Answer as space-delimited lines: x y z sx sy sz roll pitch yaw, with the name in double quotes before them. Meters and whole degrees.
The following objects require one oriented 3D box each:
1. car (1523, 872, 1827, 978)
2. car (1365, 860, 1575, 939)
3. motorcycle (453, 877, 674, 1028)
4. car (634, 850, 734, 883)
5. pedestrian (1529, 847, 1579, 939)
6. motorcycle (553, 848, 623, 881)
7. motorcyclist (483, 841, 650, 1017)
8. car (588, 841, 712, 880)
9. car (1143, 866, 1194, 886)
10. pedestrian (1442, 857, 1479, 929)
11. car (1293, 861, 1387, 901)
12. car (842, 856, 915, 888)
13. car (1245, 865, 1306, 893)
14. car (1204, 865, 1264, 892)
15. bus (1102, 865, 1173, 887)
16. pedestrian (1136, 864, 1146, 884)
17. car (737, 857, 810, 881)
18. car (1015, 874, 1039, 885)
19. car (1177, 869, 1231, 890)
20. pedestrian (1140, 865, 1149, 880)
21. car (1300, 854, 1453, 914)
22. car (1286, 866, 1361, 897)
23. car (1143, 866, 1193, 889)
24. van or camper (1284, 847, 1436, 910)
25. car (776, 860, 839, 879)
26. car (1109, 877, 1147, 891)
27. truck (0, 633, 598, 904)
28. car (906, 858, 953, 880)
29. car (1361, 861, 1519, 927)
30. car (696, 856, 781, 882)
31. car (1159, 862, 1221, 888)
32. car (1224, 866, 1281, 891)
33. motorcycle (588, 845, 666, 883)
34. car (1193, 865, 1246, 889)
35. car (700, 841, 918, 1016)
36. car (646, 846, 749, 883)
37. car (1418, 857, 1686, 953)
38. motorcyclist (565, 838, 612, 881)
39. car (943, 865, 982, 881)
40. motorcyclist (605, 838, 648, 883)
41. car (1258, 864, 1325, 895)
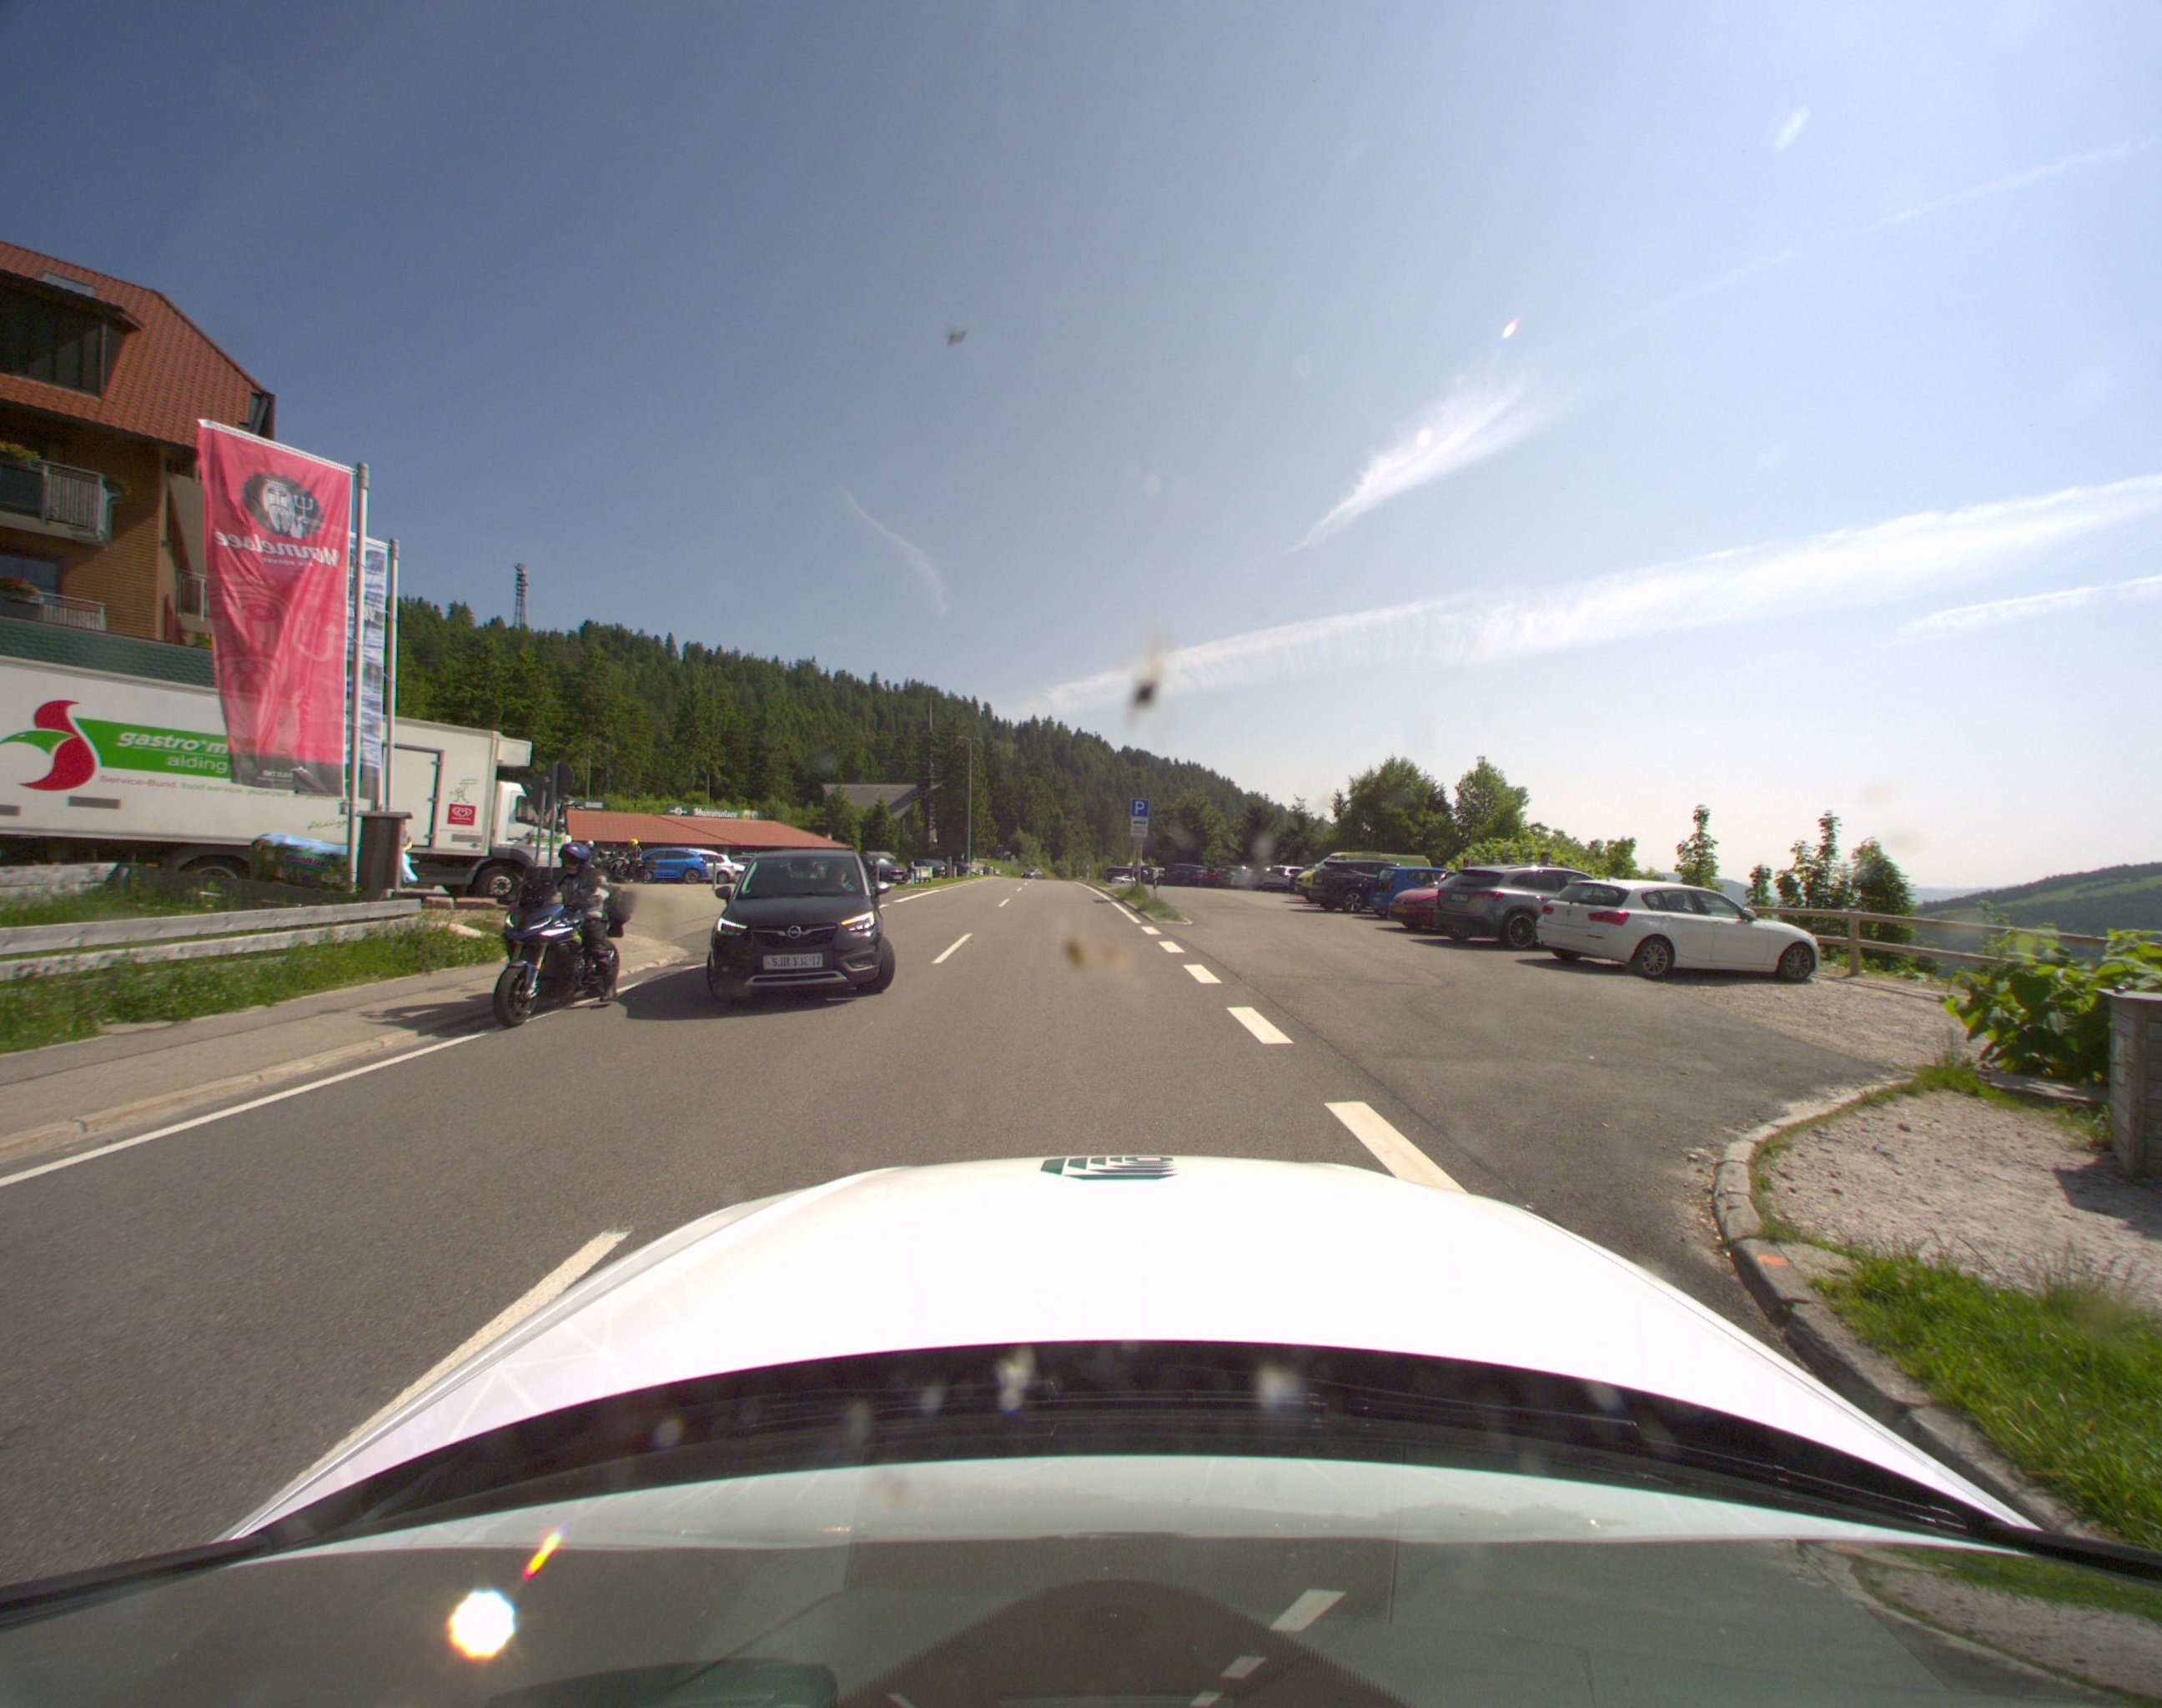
"car" 9.391 1.105 12.973 3.989 1.385 1.651 3 -1 -12
"car" 8.814 1.011 18.585 3.989 1.509 1.835 3 0 -12
"motorcycle" -5.159 0.903 8.375 0.808 1.265 2.326 0 0 -1
"car" -19.585 0.569 40.276 1.975 1.546 4.023 0 0 44
"pedestrian" 10.146 0.831 17.486 0.606 1.900 0.680 3 -1 4
"motorcycle" -20.140 0.435 33.323 2.290 1.256 0.868 1 1 -43
"motorcyclist" -5.164 0.700 8.279 0.876 1.641 1.299 0 0 -1
"car" -19.592 0.341 37.170 1.915 1.664 4.572 0 -1 43
"car" 7.668 1.970 71.639 4.003 1.443 1.826 5 -2 -23
"pedestrian" 9.345 0.943 20.044 0.504 1.725 0.564 4 -1 -14
"car" 12.900 1.335 40.576 4.187 1.650 1.878 5 -2 -22
"car" -10.427 0.877 41.742 1.818 1.540 4.141 1 0 -44
"car" 12.952 1.683 54.189 4.019 1.549 1.799 5 -2 -39
"car" 11.301 1.804 59.935 4.294 1.695 1.968 5 -2 -40
"bus" 10.569 4.052 152.219 12.767 3.578 2.993 2 0 14
"pedestrian" 5.539 1.822 75.328 0.573 1.761 0.637 2 -3 37
"car" -19.940 0.966 52.867 1.694 1.486 4.104 0 0 43
"car" -7.526 3.504 113.758 1.565 1.429 3.392 0 0 31
"car" 9.920 2.034 65.589 4.010 1.415 1.728 5 -2 -29
"pedestrian" 5.731 1.654 73.301 0.770 1.403 0.670 0 0 4
"car" 9.013 0.906 25.027 3.983 1.613 1.912 3 -1 -7
"car" 13.983 1.583 46.917 4.063 1.461 1.877 5 -2 -30
"car" 8.003 2.154 74.811 4.009 1.662 1.981 7 -4 -29
"van or camper" 10.569 0.907 31.096 5.072 2.013 1.883 4 0 1
"car" -19.894 1.113 59.278 4.020 1.371 1.791 0 0 -40
"car" 5.952 3.828 103.827 4.465 1.299 1.572 7 -2 -18
"truck" -14.984 -1.149 15.902 3.031 3.972 8.825 3 -1 36
"car" -11.478 1.123 61.604 1.792 1.552 3.953 1 -1 -41
"car" 9.803 1.066 22.407 3.570 1.495 1.647 4 0 -1
"car" -19.503 0.833 46.488 1.890 1.430 4.024 0 0 42
"car" 9.178 1.767 68.457 4.774 1.880 1.953 5 -2 -21
"car" 12.166 1.756 57.523 4.019 1.476 1.747 5 -2 -39
"motorcycle" -17.874 0.402 32.100 2.457 1.407 0.994 3 -2 -40
"car" 10.791 1.781 63.227 4.019 1.590 1.842 5 -2 -39
"car" -3.264 0.688 9.828 1.986 1.616 4.122 -1 0 -19
"car" -20.034 0.521 42.688 4.556 1.863 1.813 0 0 -45
"car" 9.141 0.965 15.936 4.400 1.568 1.900 3 0 -13
"motorcyclist" -20.142 0.218 33.313 1.460 1.717 0.915 1 1 -43
"car" -12.770 2.027 87.635 4.156 1.634 1.800 0 -3 38
"motorcyclist" -17.904 0.256 32.092 1.254 1.720 1.052 4 -2 -40
"car" 13.131 1.581 50.759 4.247 1.695 1.842 4 -2 -39
